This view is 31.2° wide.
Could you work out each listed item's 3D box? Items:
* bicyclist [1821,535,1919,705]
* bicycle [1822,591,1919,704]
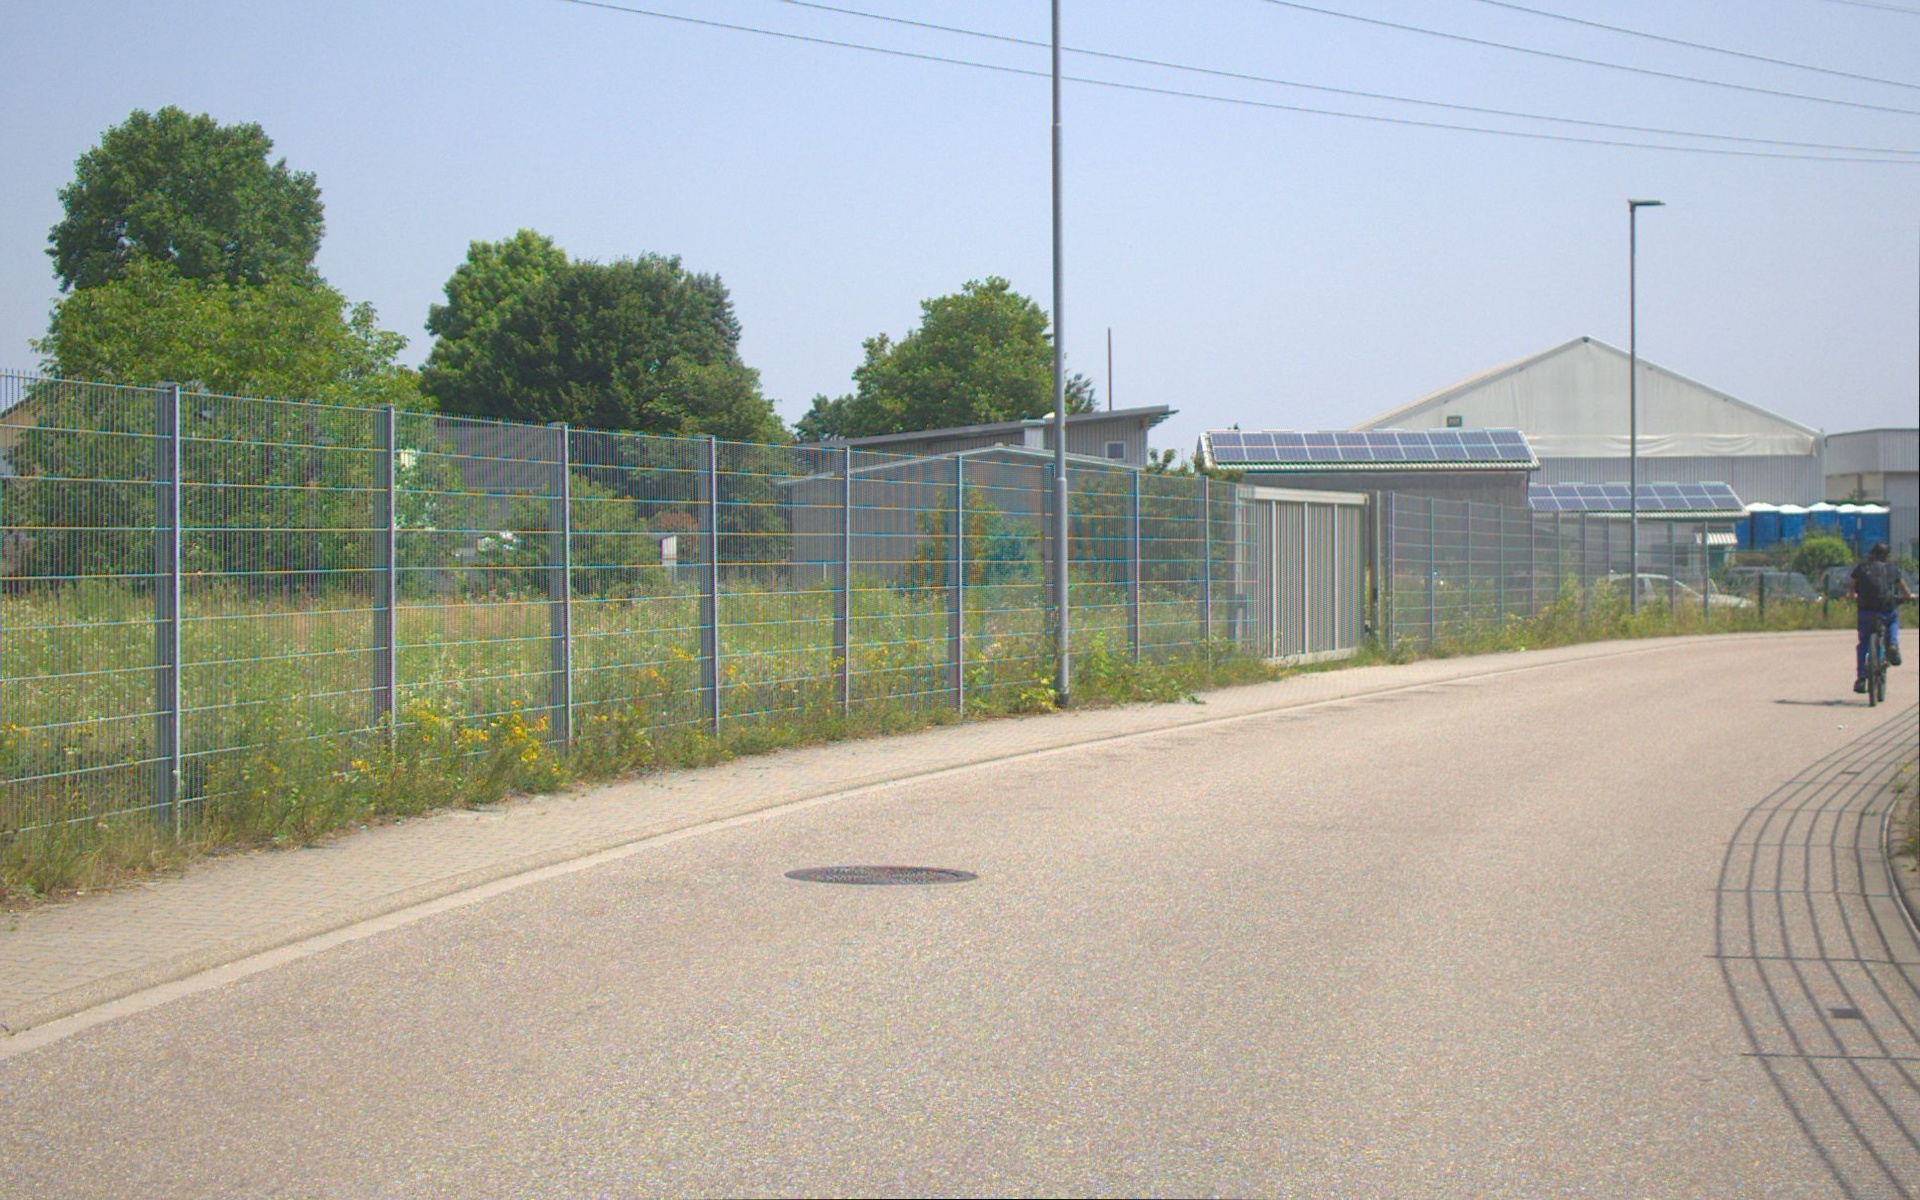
[{"bbox_3d":[9.044,0.184,33.992,0.843,1.613,1.038,2,2,23],"label":"bicyclist"},{"bbox_3d":[9.045,0.457,34.020,0.686,1.048,1.898,2,1,23],"label":"bicycle"}]
